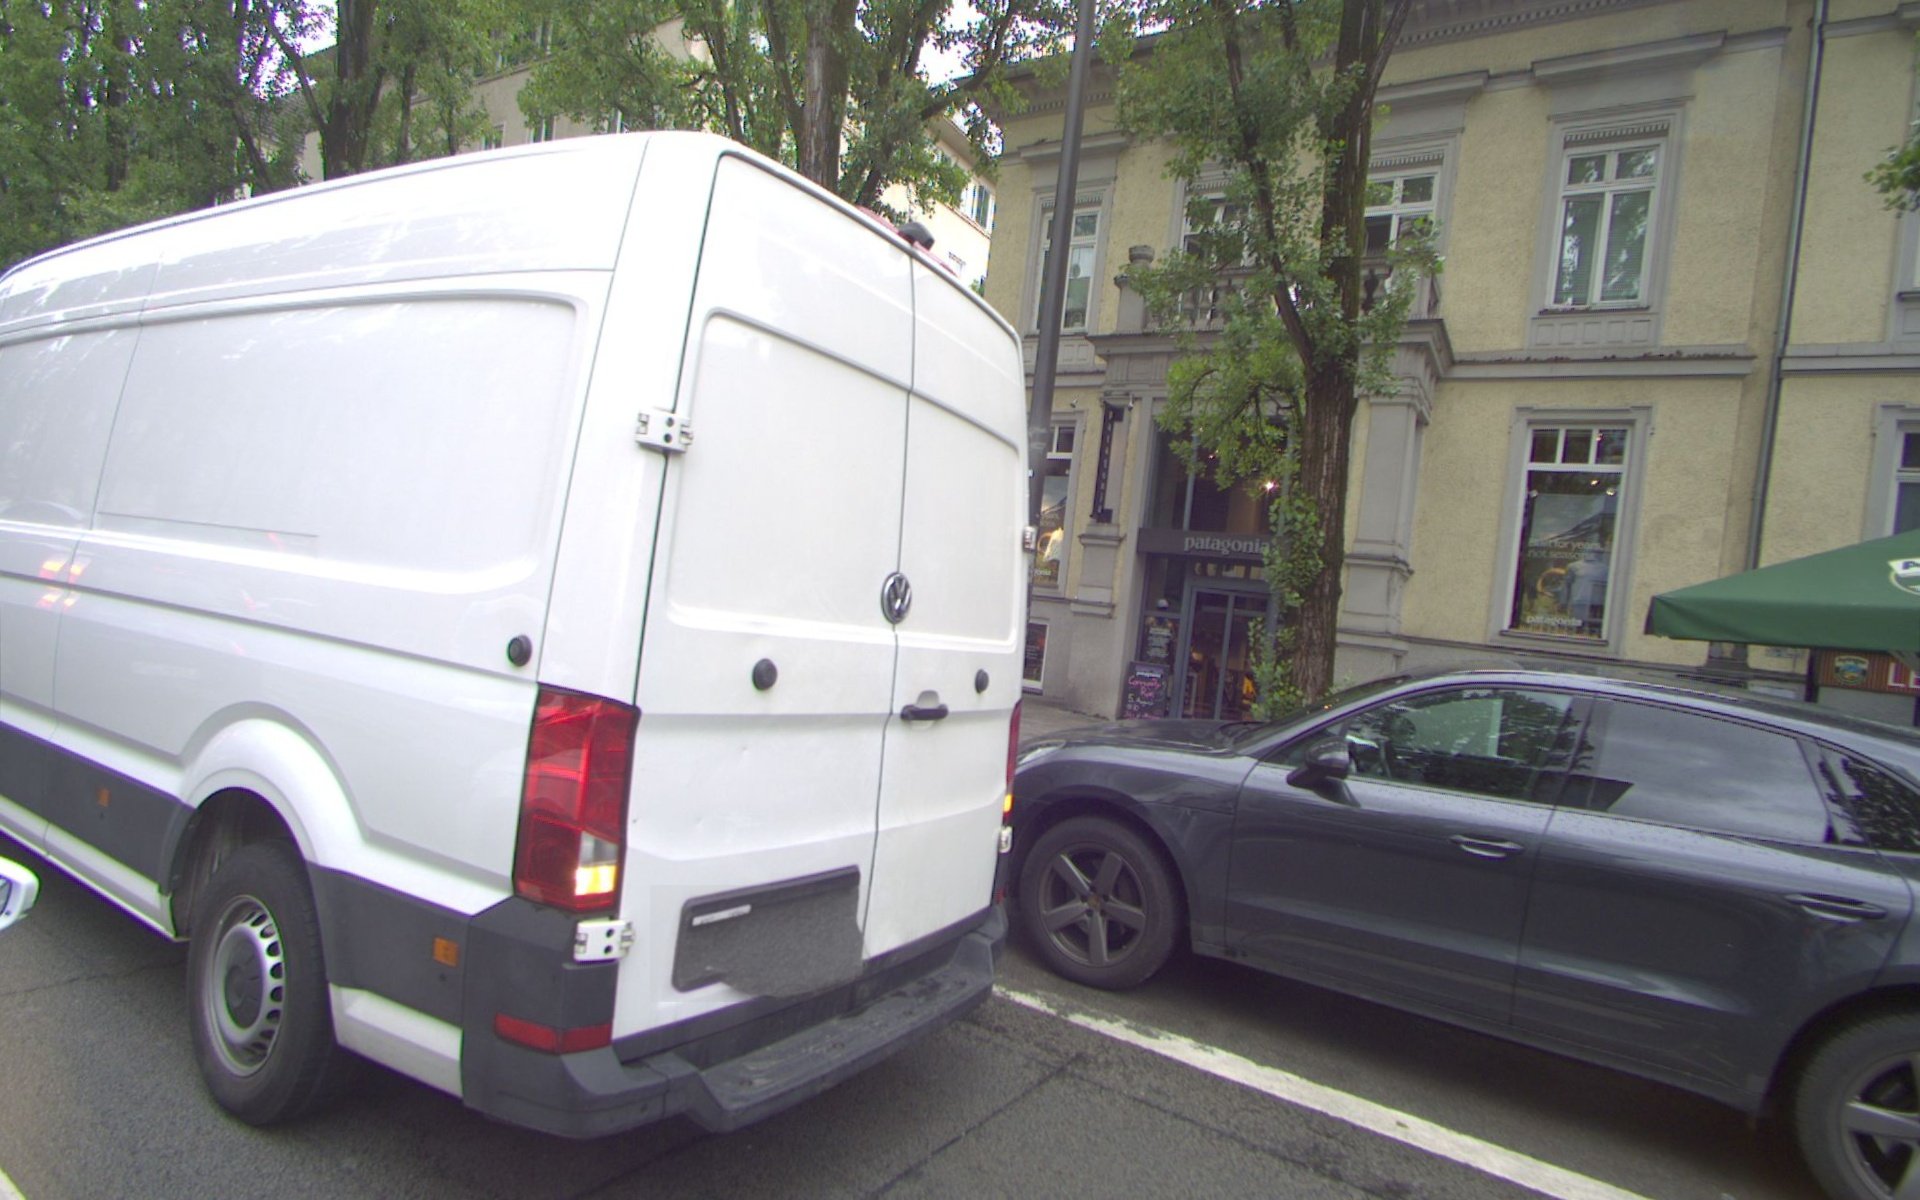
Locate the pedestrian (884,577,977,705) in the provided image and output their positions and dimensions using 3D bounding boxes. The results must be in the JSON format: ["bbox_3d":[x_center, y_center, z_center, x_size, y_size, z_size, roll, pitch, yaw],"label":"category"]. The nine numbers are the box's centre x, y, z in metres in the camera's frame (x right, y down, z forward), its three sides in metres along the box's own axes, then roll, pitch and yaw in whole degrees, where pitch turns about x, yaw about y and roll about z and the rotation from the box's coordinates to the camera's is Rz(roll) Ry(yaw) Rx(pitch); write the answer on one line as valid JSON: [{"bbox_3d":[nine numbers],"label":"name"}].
[{"bbox_3d":[-0.417,0.591,14.407,0.862,1.698,0.798,7,1,32],"label":"pedestrian"}]

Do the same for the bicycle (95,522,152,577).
[{"bbox_3d":[-17.349,-1.055,20.855,1.429,1.009,0.349,6,2,28],"label":"bicycle"}]

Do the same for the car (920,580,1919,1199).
[{"bbox_3d":[2.230,1.030,4.376,4.372,1.657,1.807,7,-1,30],"label":"car"}]

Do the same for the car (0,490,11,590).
[{"bbox_3d":[-16.429,-1.144,15.649,3.465,1.510,1.543,7,-1,33],"label":"car"}]

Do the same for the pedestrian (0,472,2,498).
[{"bbox_3d":[-36.803,-4.053,37.948,0.745,1.707,0.674,6,1,27],"label":"pedestrian"}]

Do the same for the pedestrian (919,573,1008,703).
[{"bbox_3d":[0.053,0.574,15.076,0.862,1.818,0.772,7,1,32],"label":"pedestrian"}]

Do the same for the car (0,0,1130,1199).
[{"bbox_3d":[-2.870,-0.065,4.434,6.619,2.522,2.066,7,0,32],"label":"car"}]
